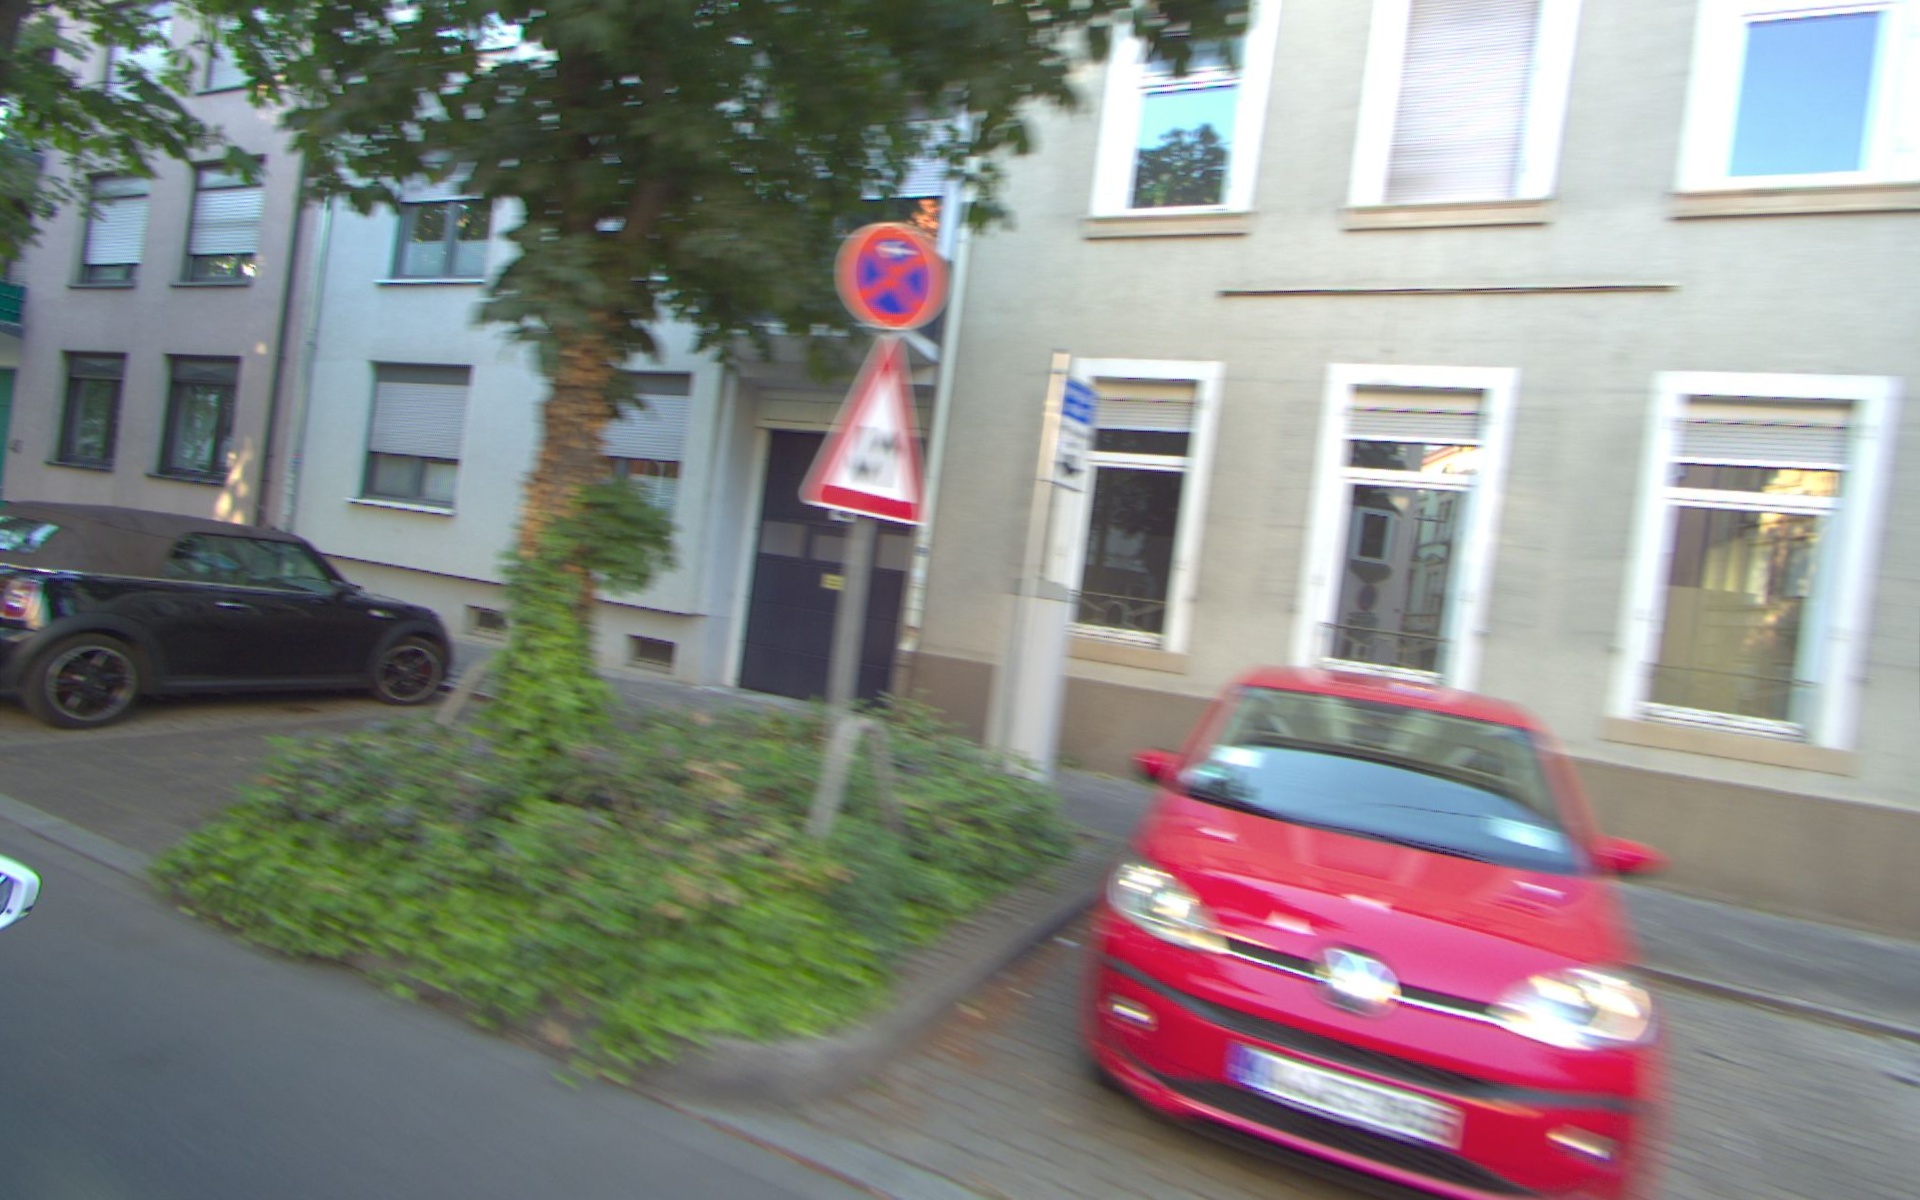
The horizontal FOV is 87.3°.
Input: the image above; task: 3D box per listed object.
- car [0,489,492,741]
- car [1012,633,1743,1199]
[{"bbox_3d":[-5.767,0.050,7.824,1.597,1.446,3.711,8,2,20],"label":"car"},{"bbox_3d":[1.649,1.027,4.239,1.537,1.494,3.666,8,0,23],"label":"car"}]
